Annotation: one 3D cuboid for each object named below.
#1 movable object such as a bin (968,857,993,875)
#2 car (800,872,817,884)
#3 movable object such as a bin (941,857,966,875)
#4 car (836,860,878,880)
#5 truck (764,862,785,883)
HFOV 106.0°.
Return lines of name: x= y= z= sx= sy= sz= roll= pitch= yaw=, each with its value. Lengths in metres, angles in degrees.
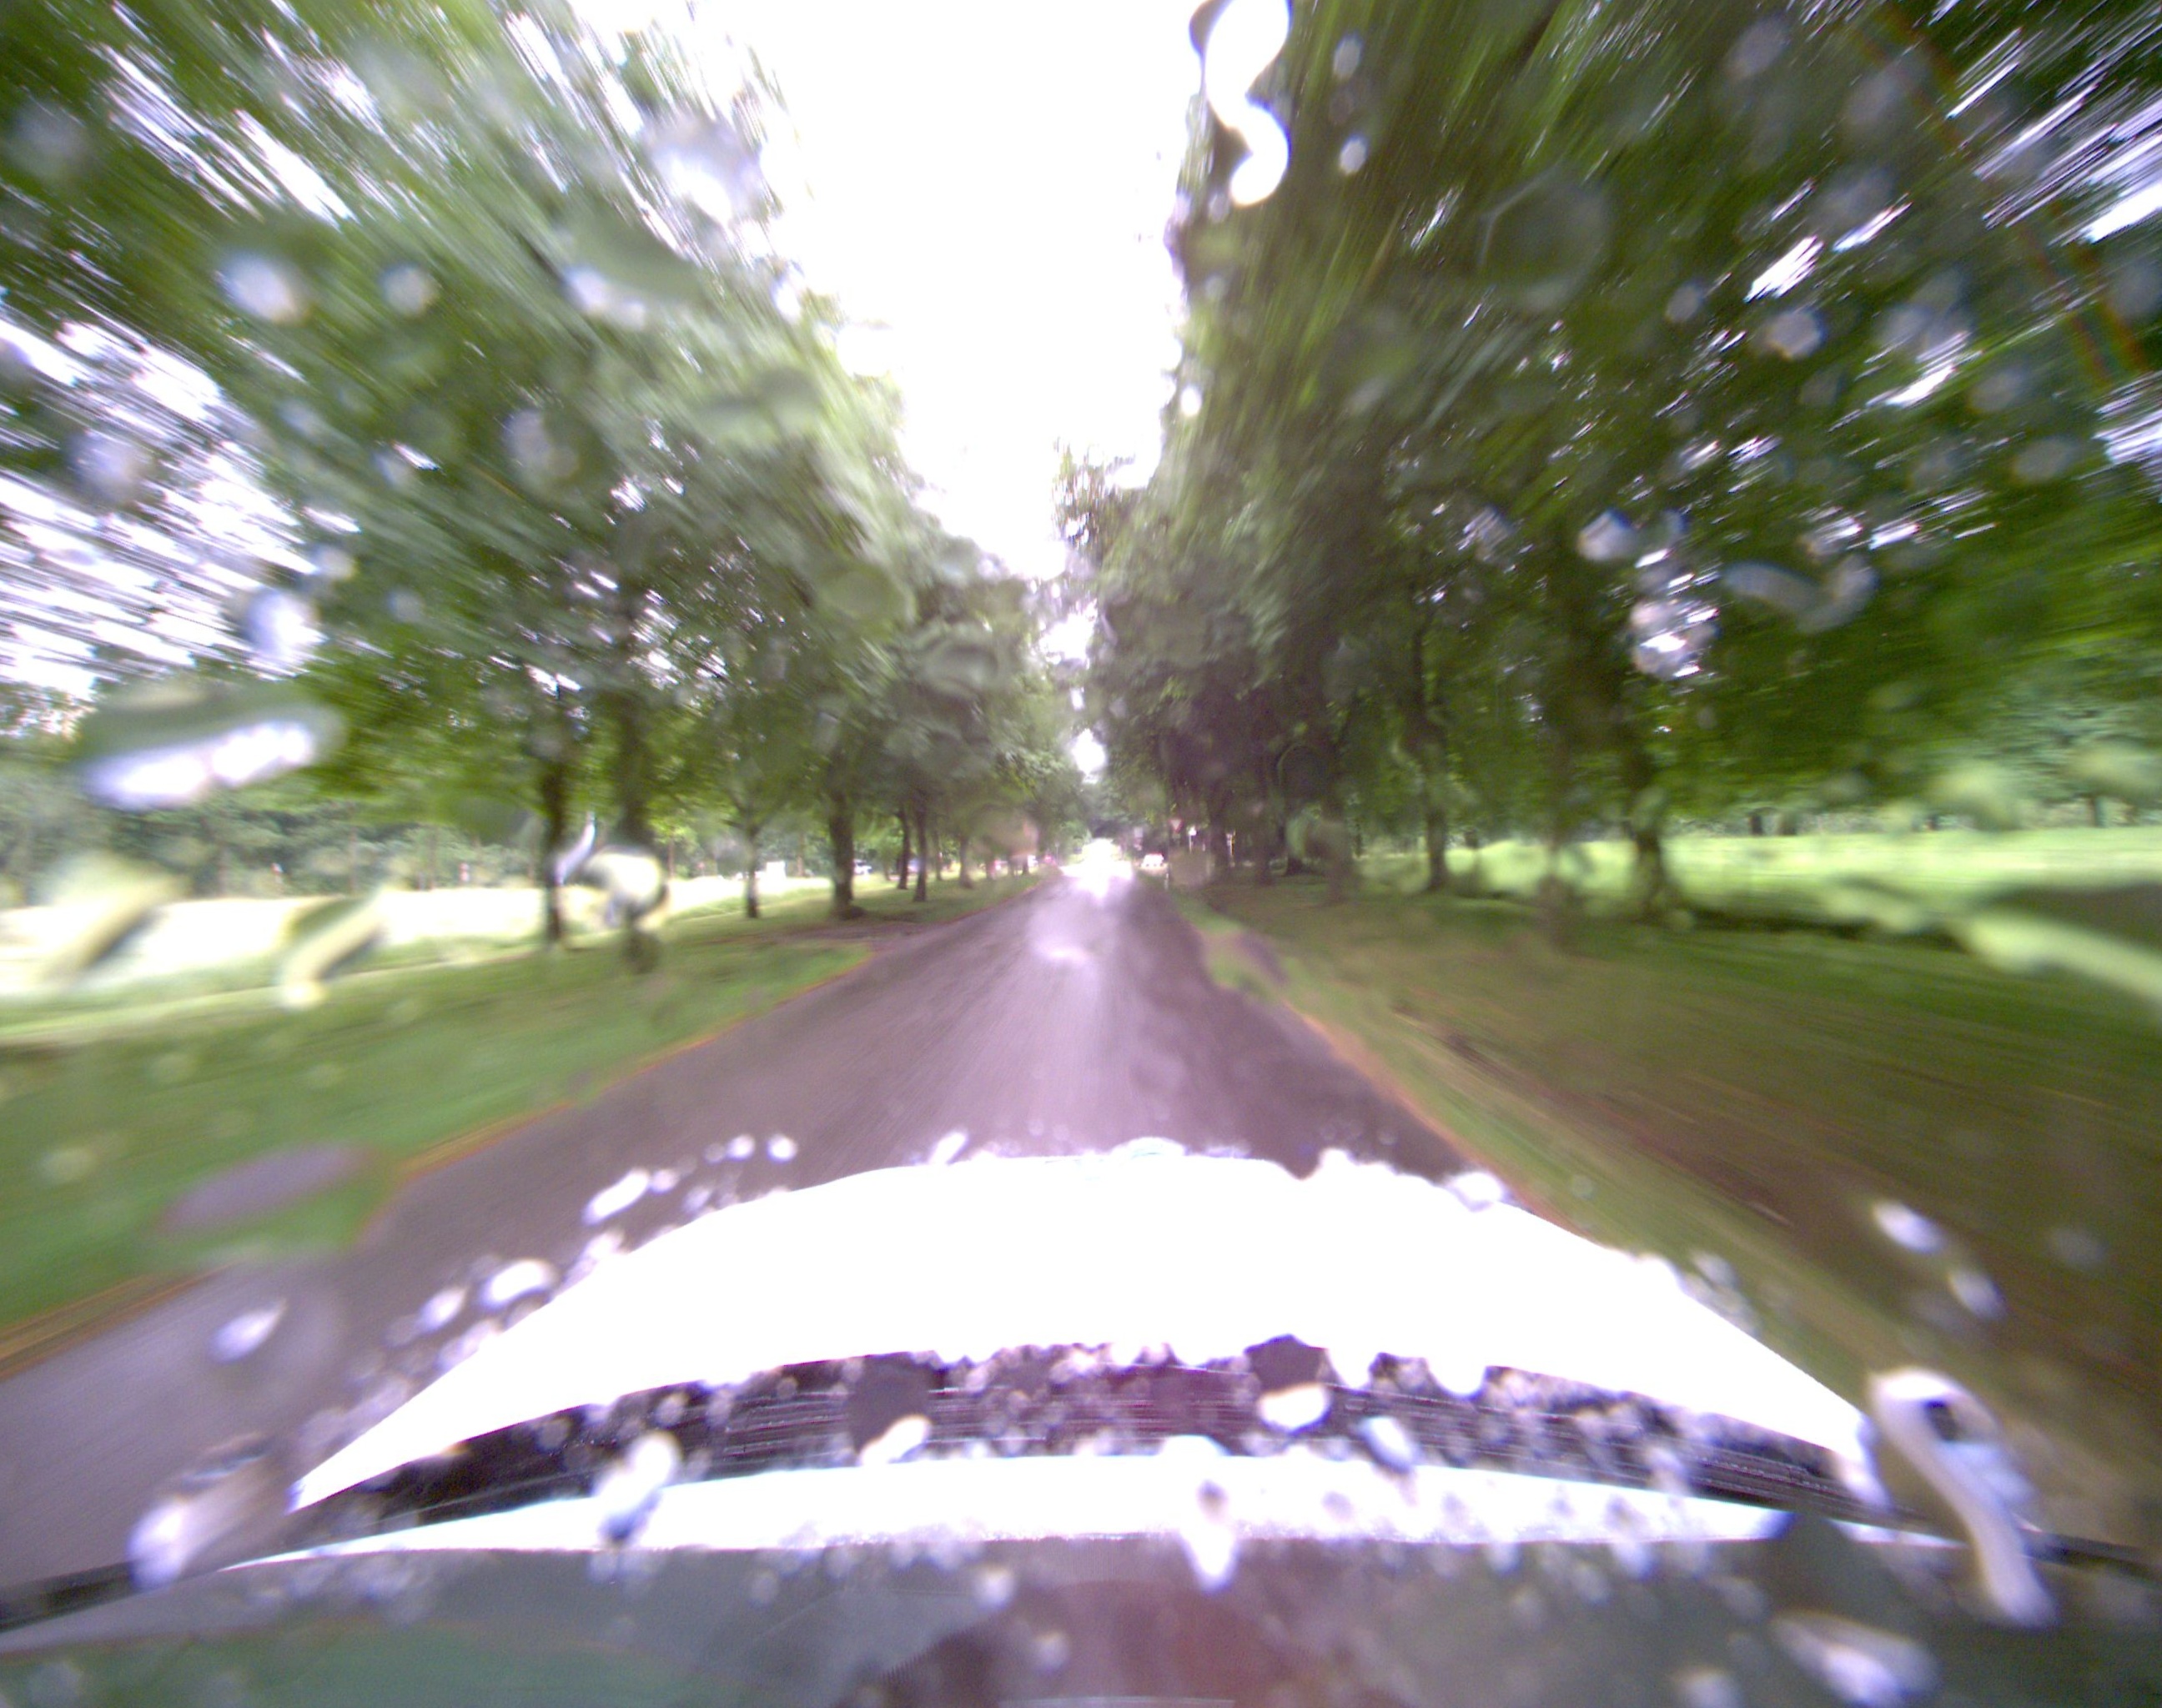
movable object such as a bin: x=-19.839 y=2.372 z=160.529 sx=4.582 sy=3.294 sz=3.654 roll=-2 pitch=-1 yaw=-10
car: x=-33.516 y=2.958 z=100.153 sx=1.767 sy=1.429 sz=4.083 roll=-2 pitch=-1 yaw=-17
movable object such as a bin: x=-24.886 y=2.357 z=158.977 sx=4.655 sy=3.294 sz=3.900 roll=-2 pitch=-1 yaw=-10
car: x=-28.796 y=2.066 z=104.673 sx=5.908 sy=2.408 sz=2.407 roll=-4 pitch=-3 yaw=43
truck: x=-37.095 y=2.273 z=98.581 sx=1.871 sy=2.443 sz=3.334 roll=-2 pitch=-1 yaw=-13
